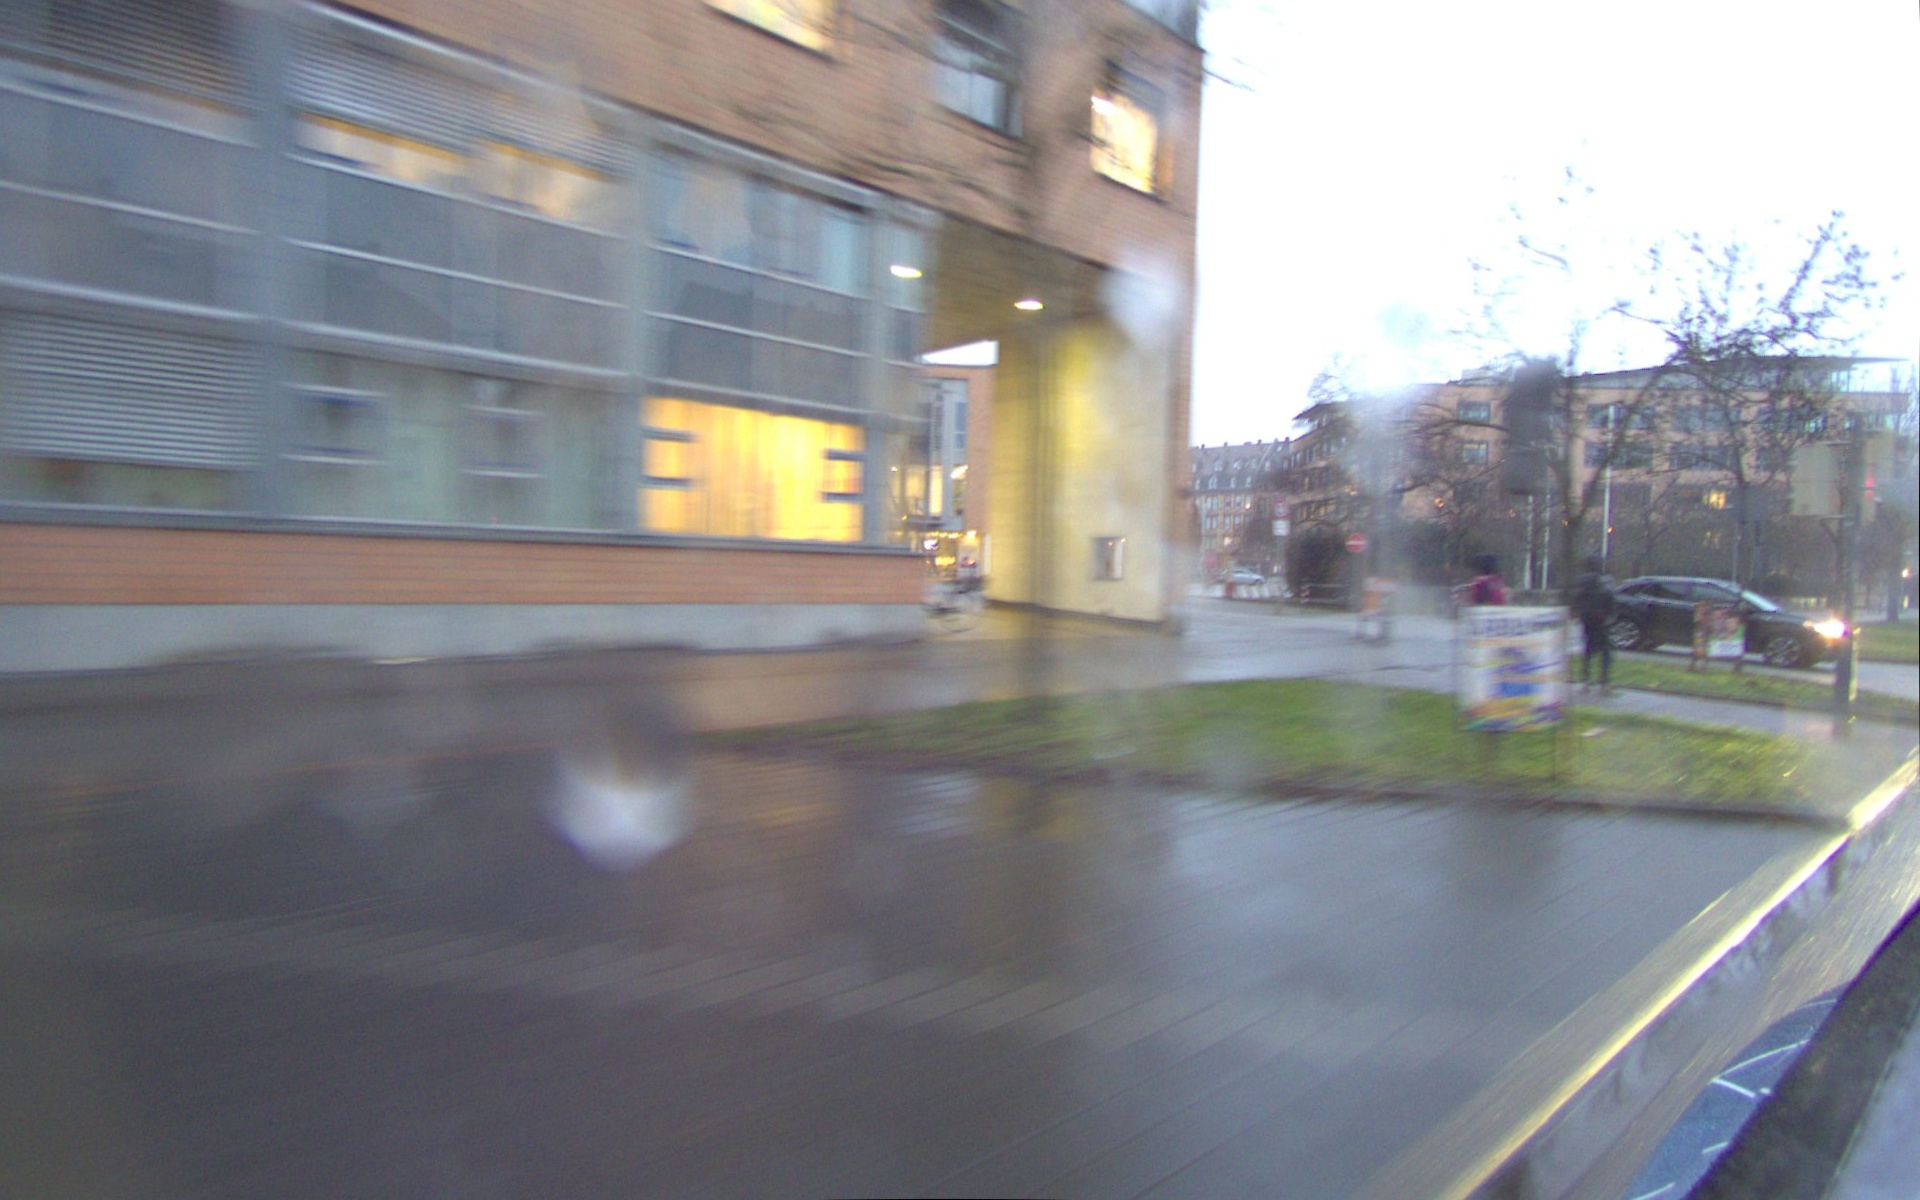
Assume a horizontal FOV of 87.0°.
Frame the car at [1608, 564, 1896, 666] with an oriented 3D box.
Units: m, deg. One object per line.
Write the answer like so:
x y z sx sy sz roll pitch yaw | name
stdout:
15.037 0.203 19.407 1.711 1.574 3.999 0 4 -39 | car

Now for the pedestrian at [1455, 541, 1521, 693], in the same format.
6.377 0.183 12.245 0.499 1.763 0.654 3 2 17 | pedestrian

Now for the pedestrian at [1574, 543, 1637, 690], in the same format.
8.445 0.198 13.270 0.500 1.846 0.653 3 2 24 | pedestrian
